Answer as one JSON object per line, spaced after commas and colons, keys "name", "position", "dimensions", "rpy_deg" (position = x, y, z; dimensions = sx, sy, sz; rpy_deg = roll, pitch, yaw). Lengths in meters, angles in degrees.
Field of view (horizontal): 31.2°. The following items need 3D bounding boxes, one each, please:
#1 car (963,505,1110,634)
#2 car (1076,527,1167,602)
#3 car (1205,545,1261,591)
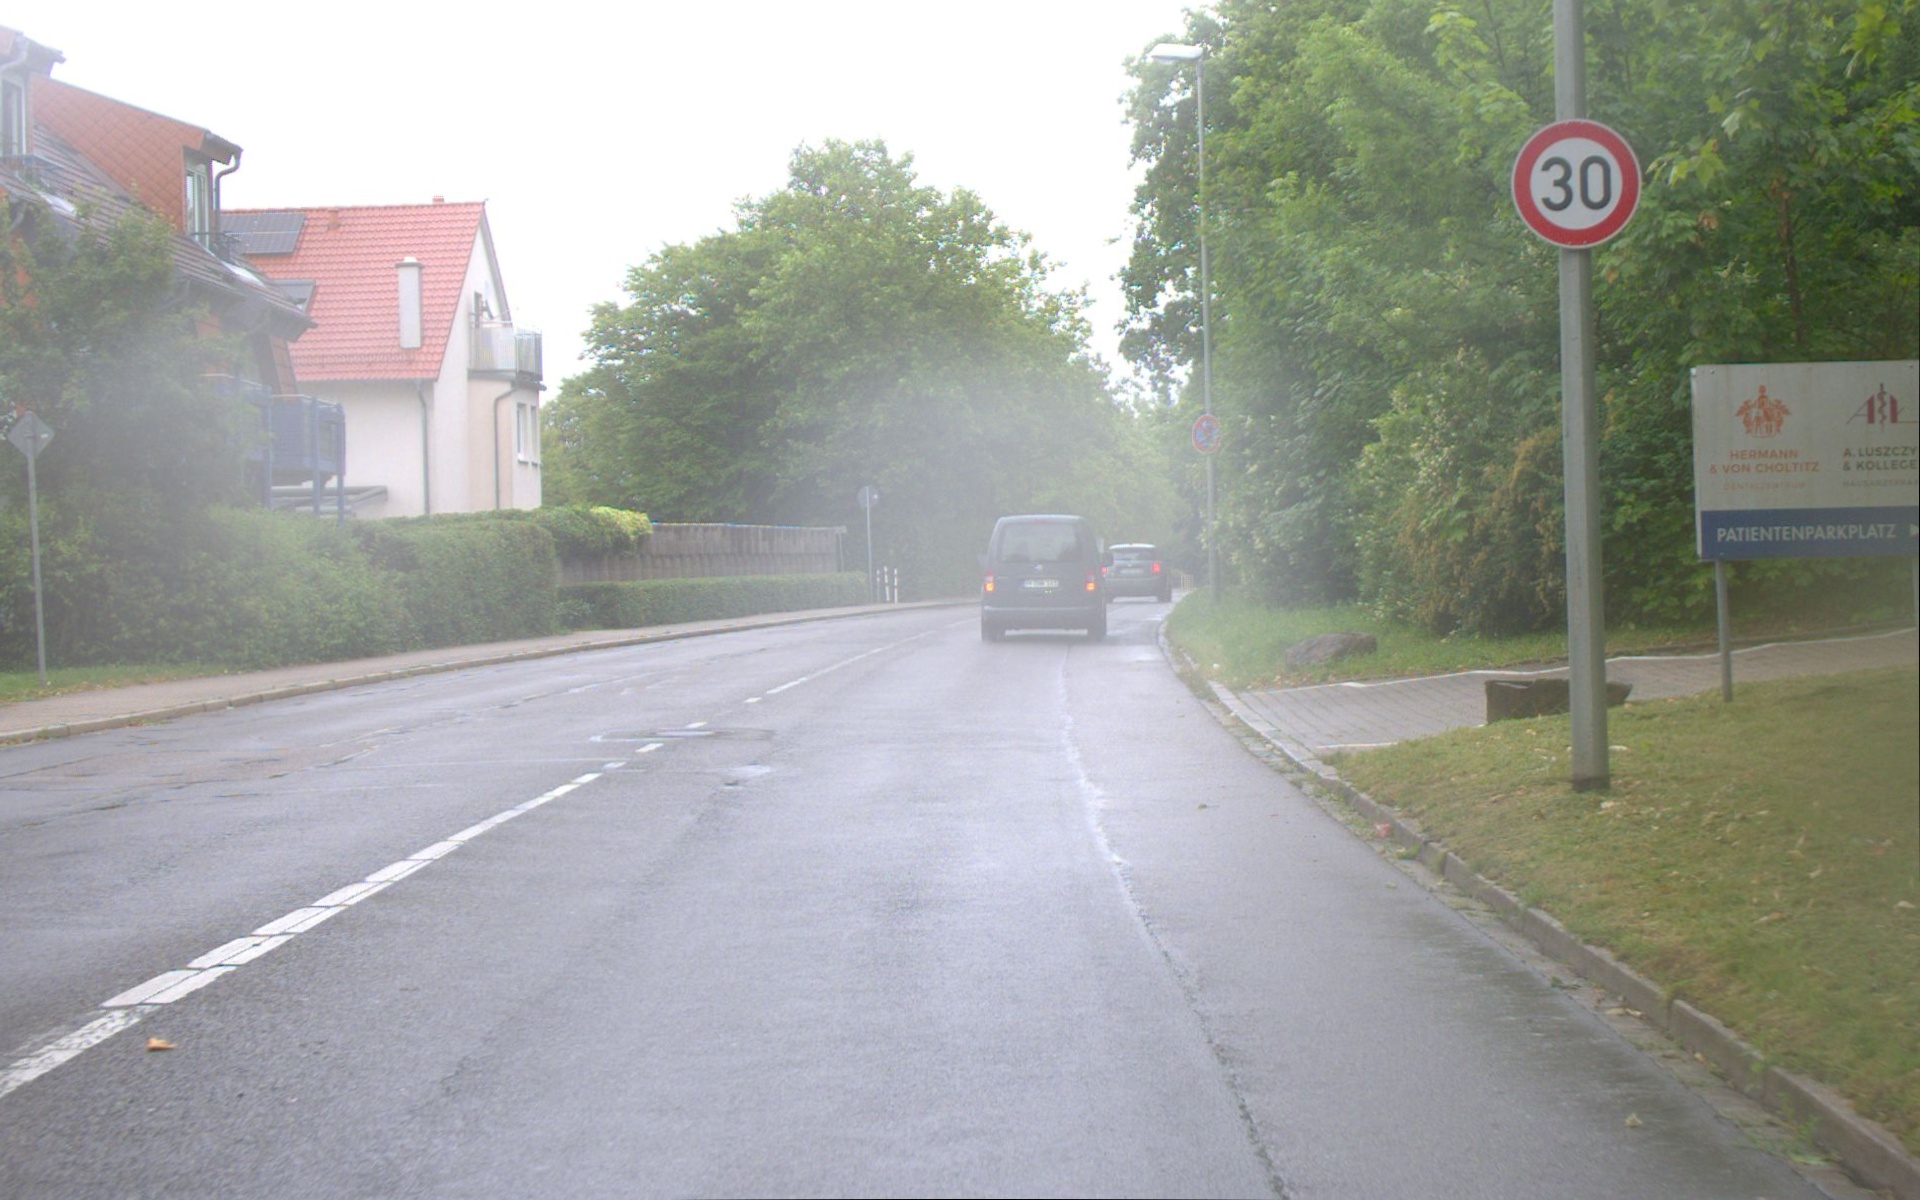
{"name": "car", "position": [1.087, -0.481, 50.690], "dimensions": [1.993, 1.787, 4.000], "rpy_deg": [1, 1, -1]}
{"name": "car", "position": [4.045, -0.896, 85.608], "dimensions": [1.950, 1.744, 3.999], "rpy_deg": [-1, 1, 7]}
{"name": "car", "position": [10.892, -1.280, 137.555], "dimensions": [1.993, 1.744, 4.000], "rpy_deg": [1, 1, 2]}
